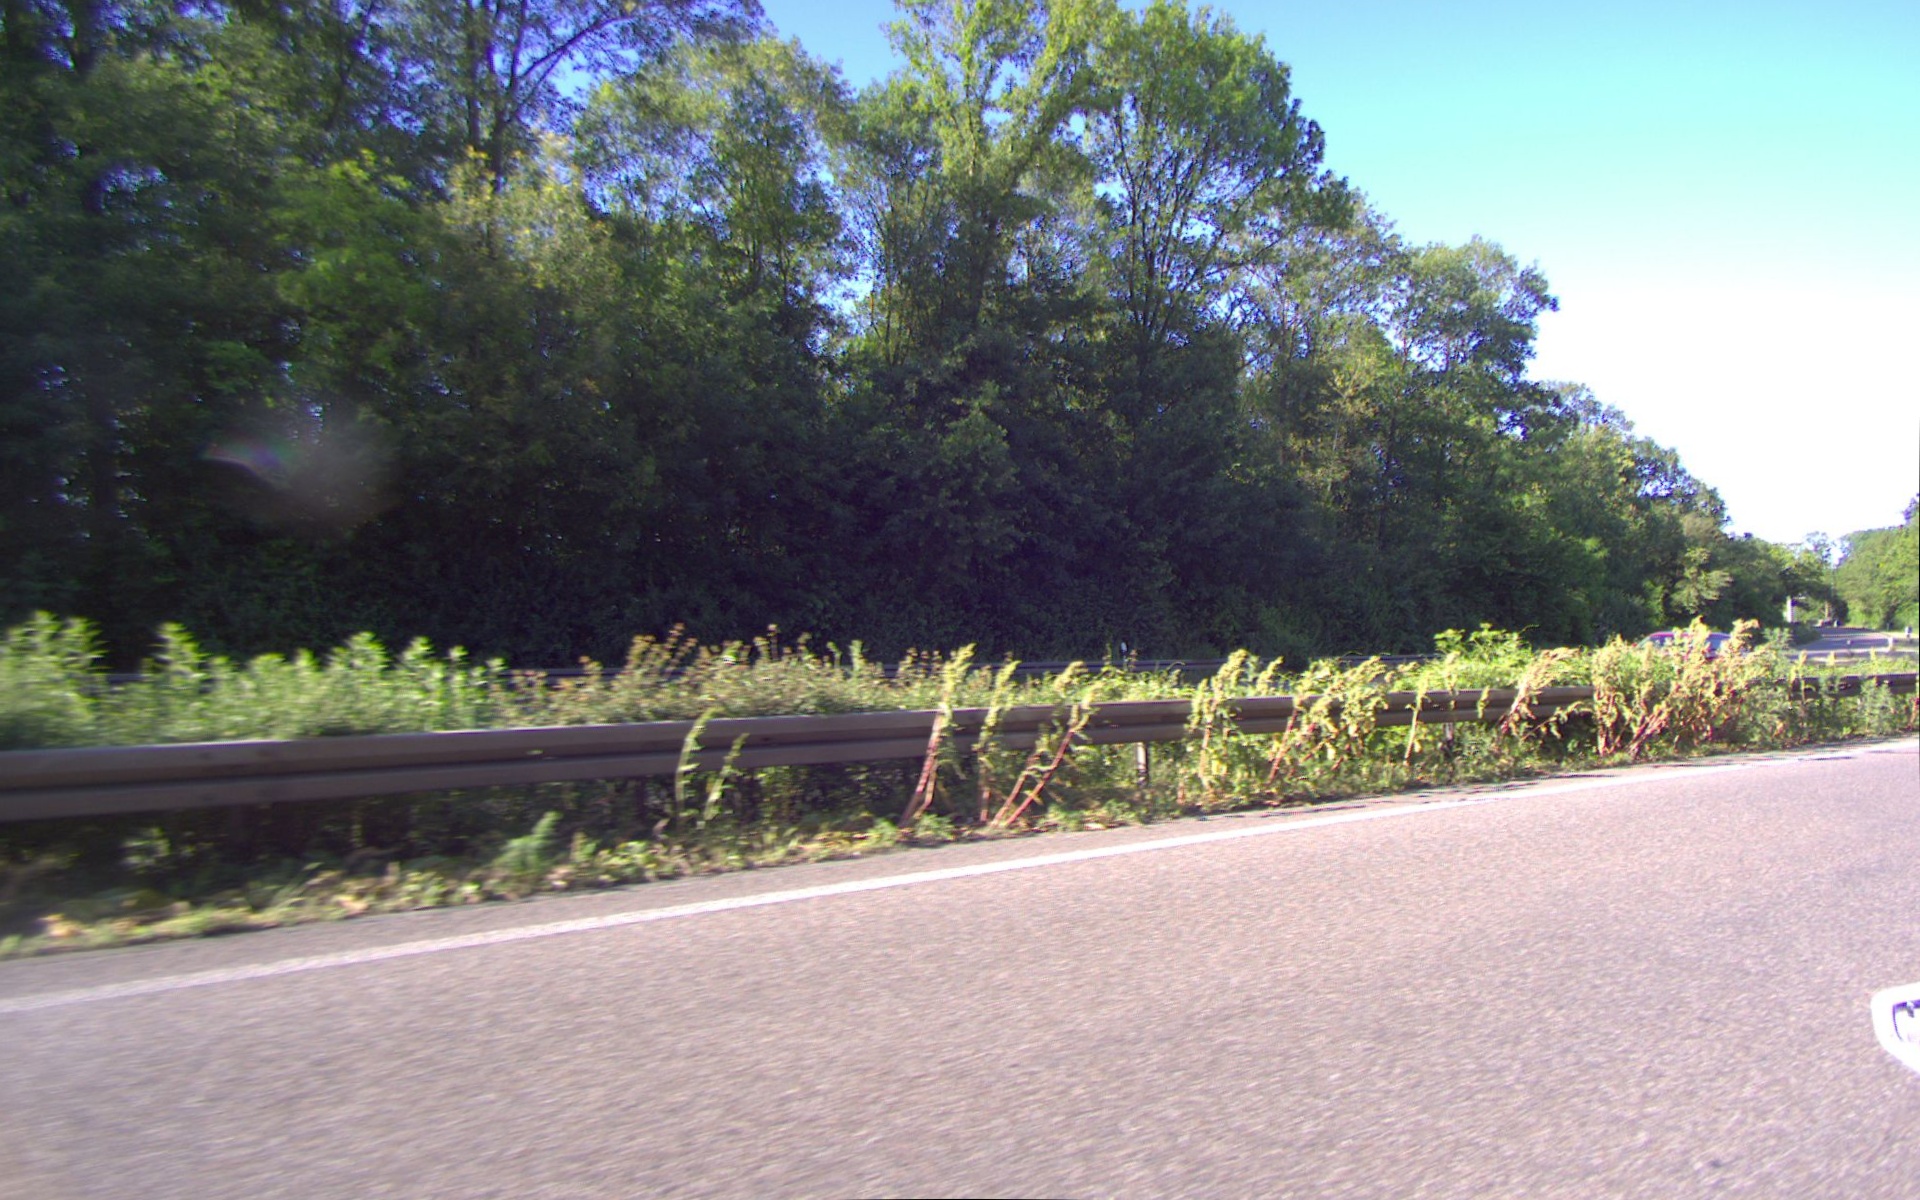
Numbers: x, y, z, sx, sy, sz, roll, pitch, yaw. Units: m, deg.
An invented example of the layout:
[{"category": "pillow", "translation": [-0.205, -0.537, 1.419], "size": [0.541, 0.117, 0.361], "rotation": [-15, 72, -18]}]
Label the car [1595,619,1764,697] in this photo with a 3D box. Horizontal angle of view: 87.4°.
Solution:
[{"category": "car", "translation": [20.791, 1.642, 28.992], "size": [4.701, 2.040, 2.039], "rotation": [2, 0, -27]}]
